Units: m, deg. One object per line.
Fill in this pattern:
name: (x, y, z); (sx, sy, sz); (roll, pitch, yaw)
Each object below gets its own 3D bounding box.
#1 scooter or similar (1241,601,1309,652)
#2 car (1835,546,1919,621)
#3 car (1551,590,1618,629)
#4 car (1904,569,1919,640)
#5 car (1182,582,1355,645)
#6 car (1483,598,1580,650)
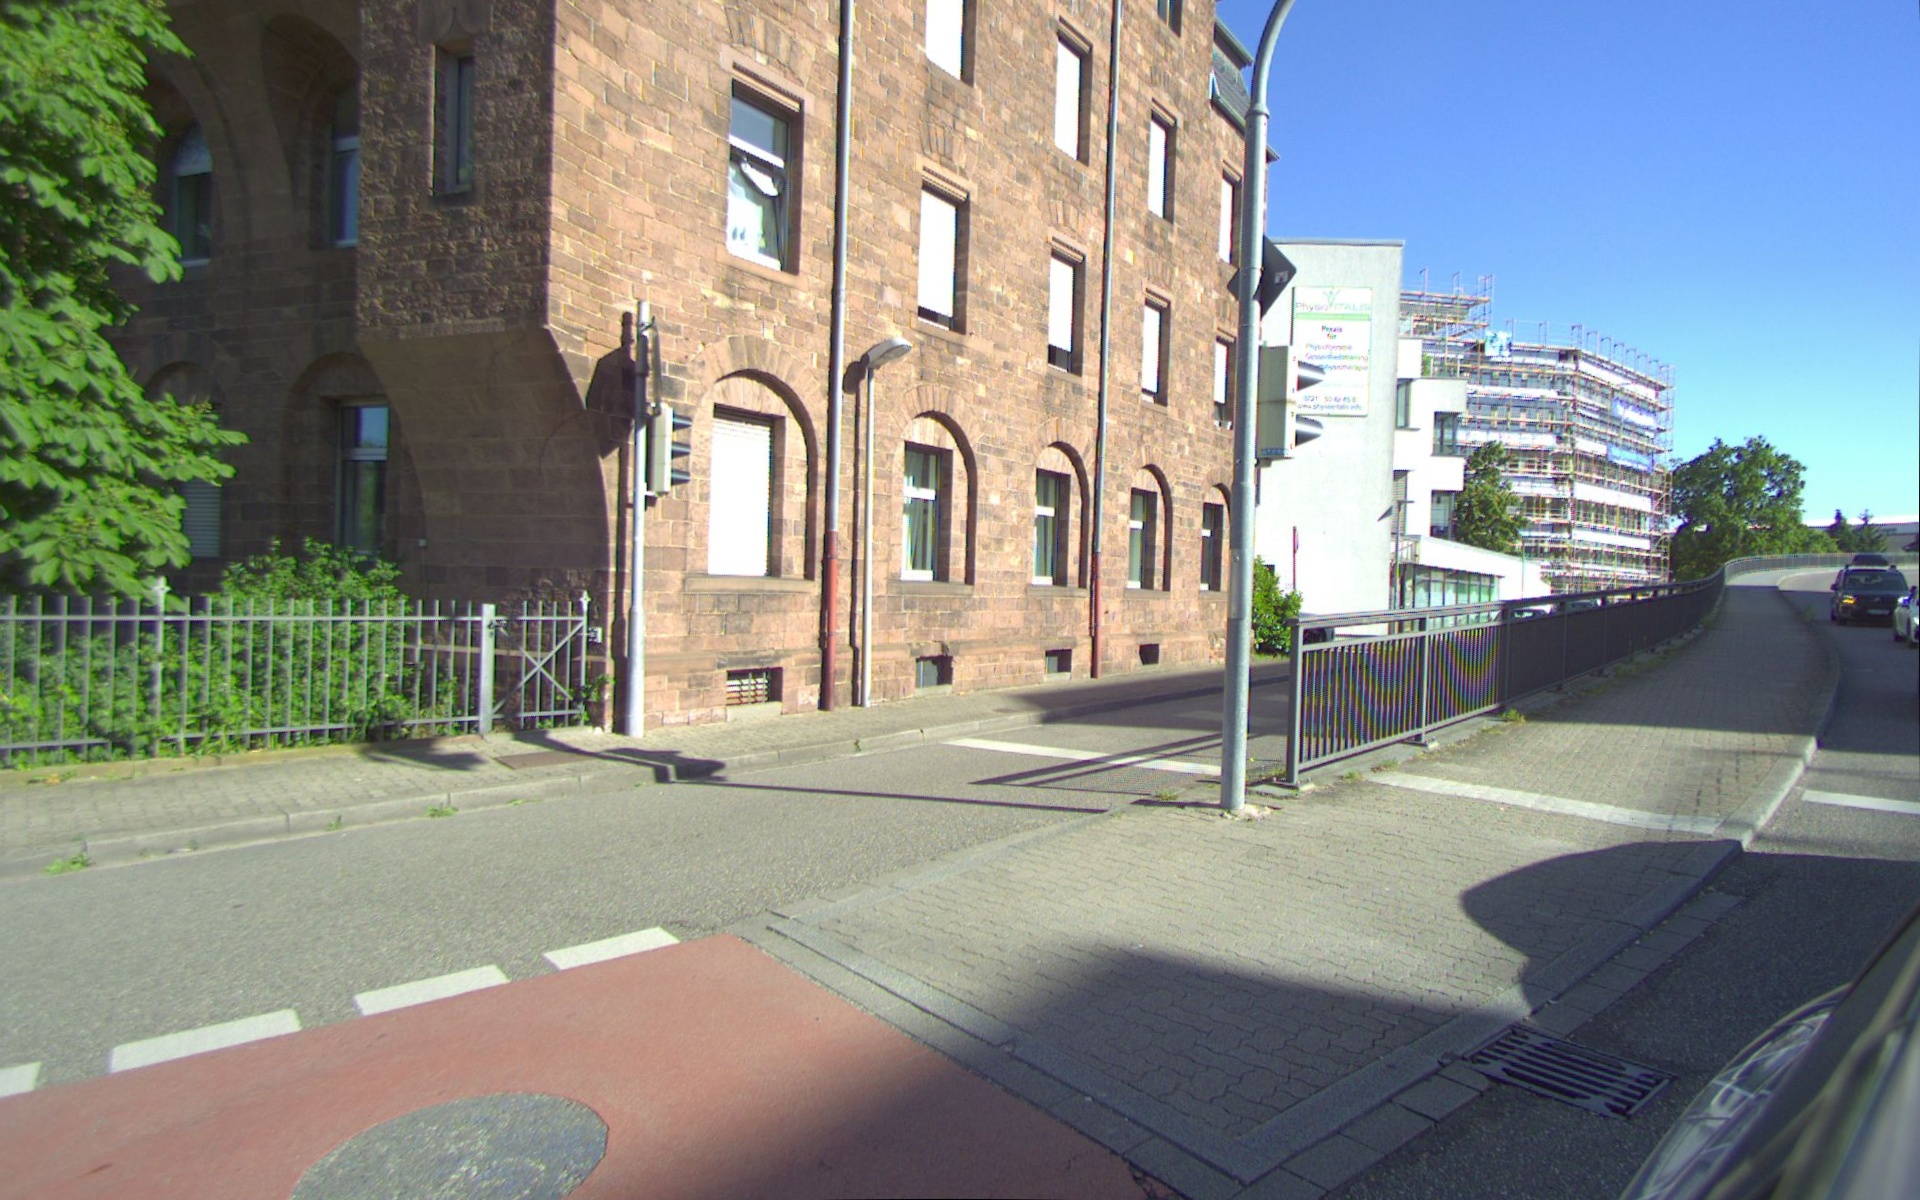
scooter or similar: (7.886, 0.658, 25.368); (1.453, 1.234, 0.775); (-1, -1, 35)
car: (29.377, -0.592, 32.271); (1.900, 2.241, 4.538); (1, 3, 37)
car: (27.569, 0.402, 44.642); (1.843, 1.554, 3.940); (3, 2, 41)
car: (23.473, 0.061, 23.676); (1.843, 1.554, 4.442); (1, 2, 41)
car: (9.077, 0.373, 30.051); (4.562, 1.789, 1.828); (0, 2, 2)
car: (19.100, 0.750, 33.754); (1.844, 1.448, 4.611); (1, 3, 42)
